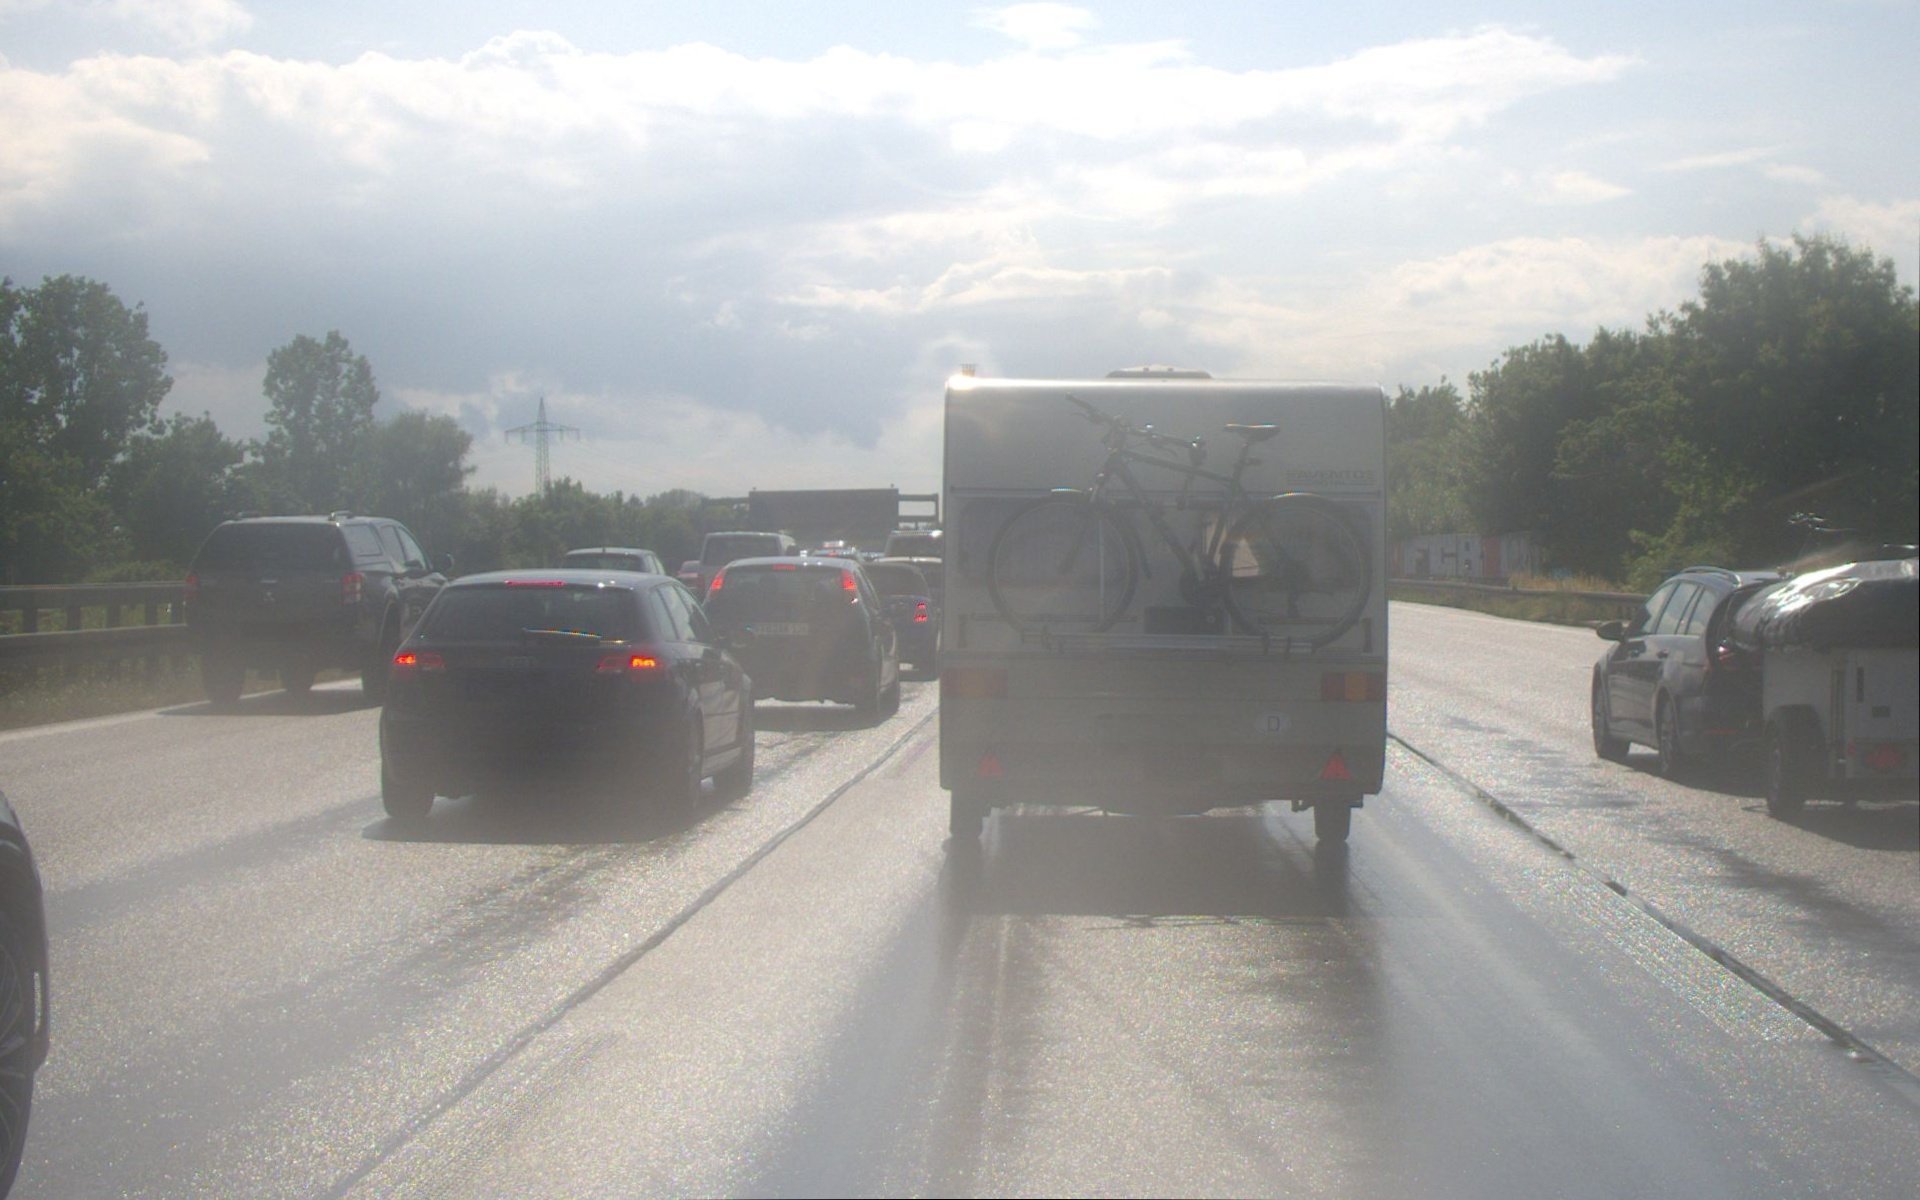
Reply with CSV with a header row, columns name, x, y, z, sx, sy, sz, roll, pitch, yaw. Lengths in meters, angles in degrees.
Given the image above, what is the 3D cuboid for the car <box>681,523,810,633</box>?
name,x,y,z,sx,sy,sz,roll,pitch,yaw
car,-4.266,-0.458,68.998,1.994,2.007,4.000,4,1,3

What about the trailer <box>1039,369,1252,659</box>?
name,x,y,z,sx,sy,sz,roll,pitch,yaw
trailer,3.014,-1.288,53.891,3.007,4.152,8.534,1,1,5

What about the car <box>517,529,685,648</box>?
name,x,y,z,sx,sy,sz,roll,pitch,yaw
car,-5.594,-0.196,54.029,1.994,1.766,4.000,1,1,3

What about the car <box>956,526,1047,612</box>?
name,x,y,z,sx,sy,sz,roll,pitch,yaw
car,1.035,-0.762,83.820,1.994,2.007,4.000,1,1,3

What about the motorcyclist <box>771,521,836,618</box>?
name,x,y,z,sx,sy,sz,roll,pitch,yaw
motorcyclist,-2.798,-0.551,61.582,1.064,1.712,0.785,1,0,3

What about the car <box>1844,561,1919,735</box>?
name,x,y,z,sx,sy,sz,roll,pitch,yaw
car,9.106,0.403,30.567,1.671,1.477,3.671,0,1,2

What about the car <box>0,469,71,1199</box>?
name,x,y,z,sx,sy,sz,roll,pitch,yaw
car,-3.115,0.557,5.669,1.994,1.656,4.405,0,1,2

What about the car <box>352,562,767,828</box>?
name,x,y,z,sx,sy,sz,roll,pitch,yaw
car,-2.240,0.480,20.215,1.757,1.382,3.944,0,1,3

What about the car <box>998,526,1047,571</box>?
name,x,y,z,sx,sy,sz,roll,pitch,yaw
car,2.519,-2.083,138.973,1.876,1.754,4.000,1,1,0

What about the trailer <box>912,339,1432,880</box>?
name,x,y,z,sx,sy,sz,roll,pitch,yaw
trailer,1.116,0.011,19.296,2.374,2.475,6.522,1,1,2

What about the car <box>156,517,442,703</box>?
name,x,y,z,sx,sy,sz,roll,pitch,yaw
car,-6.523,0.077,34.352,1.993,1.714,4.000,1,1,1

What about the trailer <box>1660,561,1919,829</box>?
name,x,y,z,sx,sy,sz,roll,pitch,yaw
trailer,5.487,0.494,20.673,1.855,1.437,4.147,0,1,2

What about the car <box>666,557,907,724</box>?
name,x,y,z,sx,sy,sz,roll,pitch,yaw
car,-1.530,0.332,31.600,1.806,1.402,4.000,1,1,3

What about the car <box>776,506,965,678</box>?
name,x,y,z,sx,sy,sz,roll,pitch,yaw
car,-1.066,-0.121,42.941,1.994,2.007,4.000,1,1,3

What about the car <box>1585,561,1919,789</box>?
name,x,y,z,sx,sy,sz,roll,pitch,yaw
car,5.633,0.455,24.155,1.855,1.437,4.258,0,1,2

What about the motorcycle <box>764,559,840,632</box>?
name,x,y,z,sx,sy,sz,roll,pitch,yaw
motorcycle,-2.806,-0.099,61.426,1.074,1.267,2.690,0,1,3

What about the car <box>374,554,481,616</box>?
name,x,y,z,sx,sy,sz,roll,pitch,yaw
car,-12.284,-0.365,79.516,1.757,1.375,3.876,0,1,2

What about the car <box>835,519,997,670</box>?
name,x,y,z,sx,sy,sz,roll,pitch,yaw
car,-0.606,-0.100,50.890,1.994,2.007,4.000,4,1,3

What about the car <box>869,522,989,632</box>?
name,x,y,z,sx,sy,sz,roll,pitch,yaw
car,-0.548,-0.440,64.678,1.994,2.007,4.000,0,1,3
